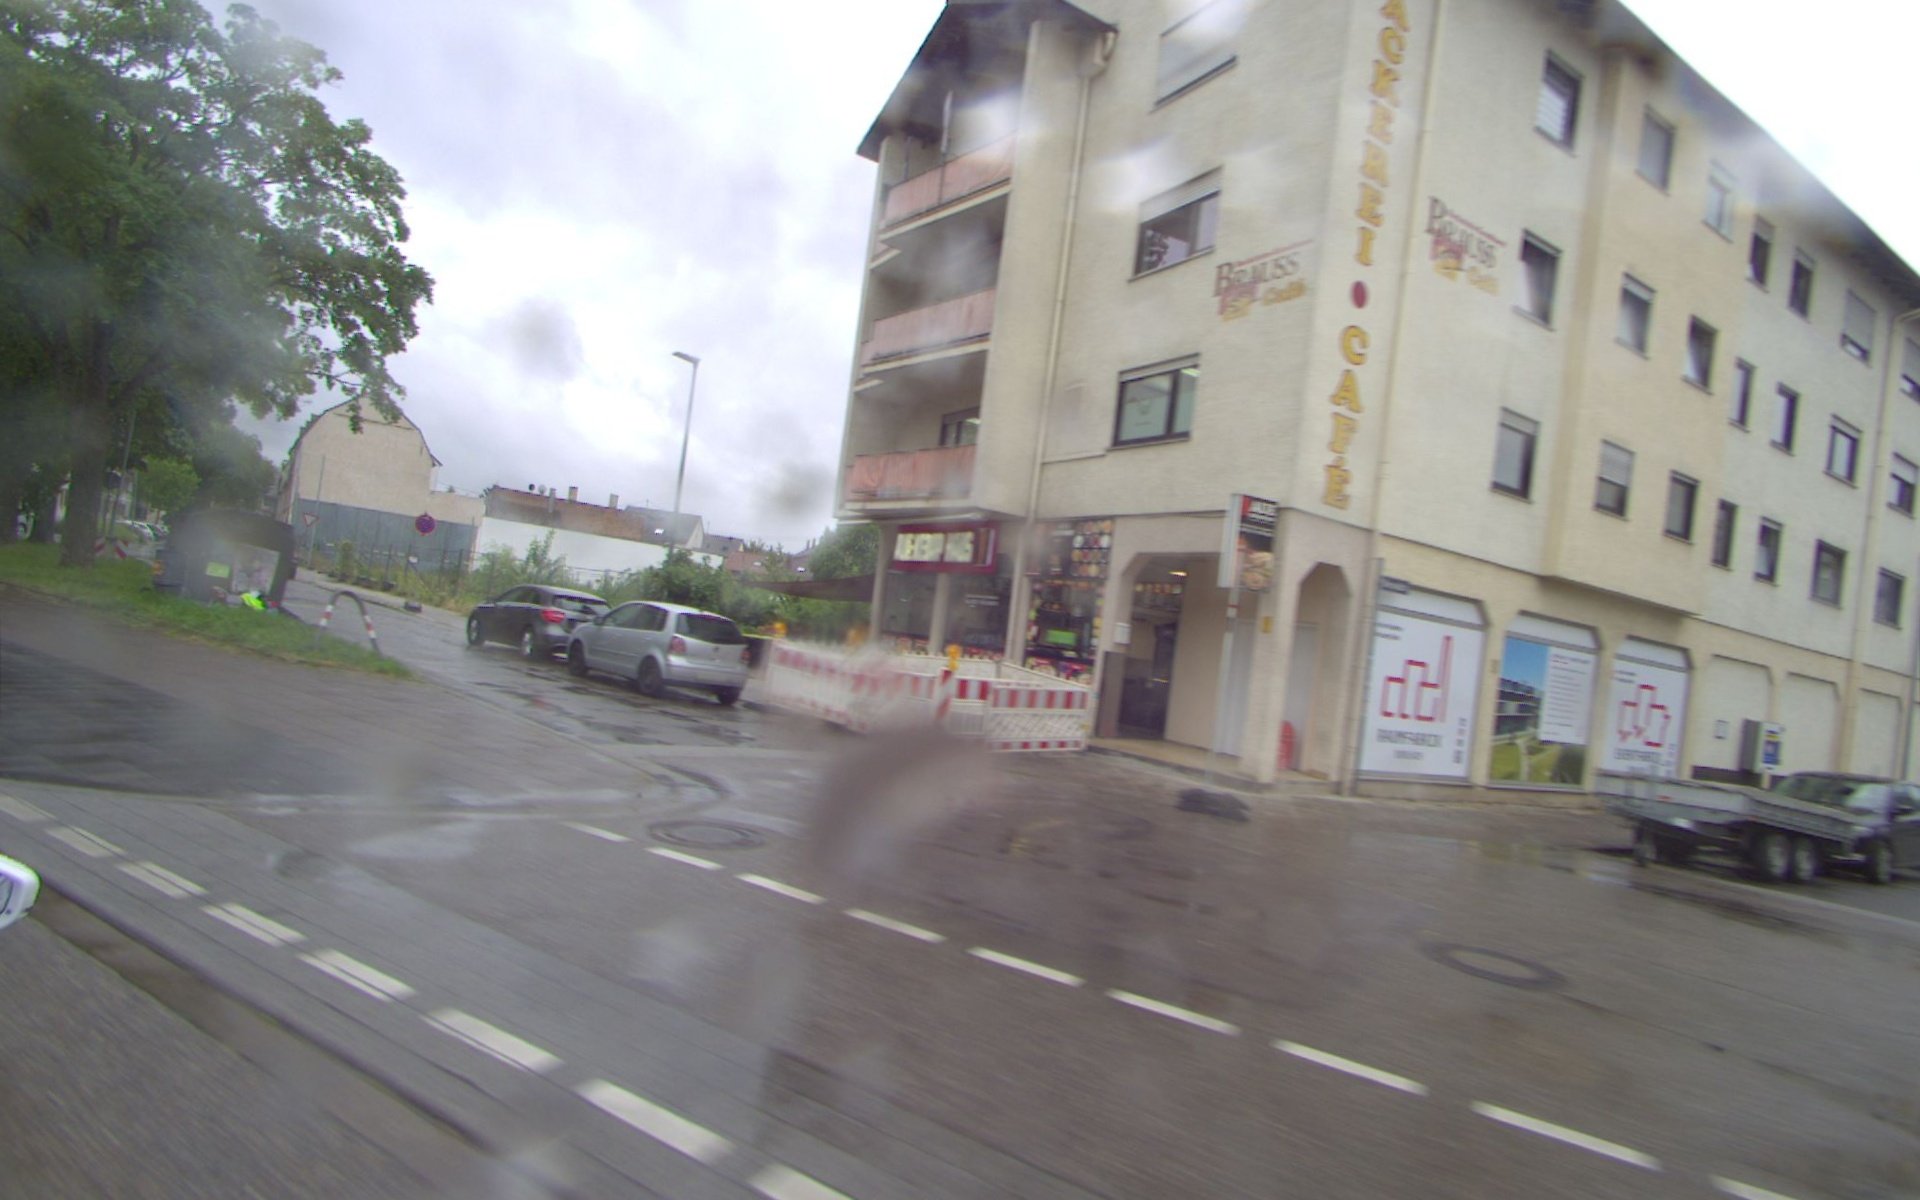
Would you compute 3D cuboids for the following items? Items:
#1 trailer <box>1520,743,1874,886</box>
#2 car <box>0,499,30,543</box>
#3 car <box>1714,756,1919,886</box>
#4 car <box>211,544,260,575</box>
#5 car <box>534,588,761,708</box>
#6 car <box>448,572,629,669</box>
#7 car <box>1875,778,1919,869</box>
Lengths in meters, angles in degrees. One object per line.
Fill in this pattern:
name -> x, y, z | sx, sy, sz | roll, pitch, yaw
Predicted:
trailer -> 9.354, 2.729, 12.704 | 4.484, 1.245, 1.812 | 9, -3, -28
car -> -38.684, -3.269, 39.324 | 1.975, 1.620, 4.068 | 8, -3, -23
car -> 13.177, 3.285, 14.924 | 3.959, 1.419, 1.725 | 9, -3, -31
car -> -44.655, -2.474, 62.094 | 1.961, 1.566, 4.494 | 9, -3, -31
car -> -5.298, 0.748, 16.781 | 4.120, 1.450, 1.632 | 5, -3, 43
car -> -8.598, 0.377, 20.358 | 4.101, 1.450, 1.696 | 5, -3, 43
car -> 17.960, 4.068, 17.607 | 4.138, 1.419, 1.724 | 9, -3, -31
